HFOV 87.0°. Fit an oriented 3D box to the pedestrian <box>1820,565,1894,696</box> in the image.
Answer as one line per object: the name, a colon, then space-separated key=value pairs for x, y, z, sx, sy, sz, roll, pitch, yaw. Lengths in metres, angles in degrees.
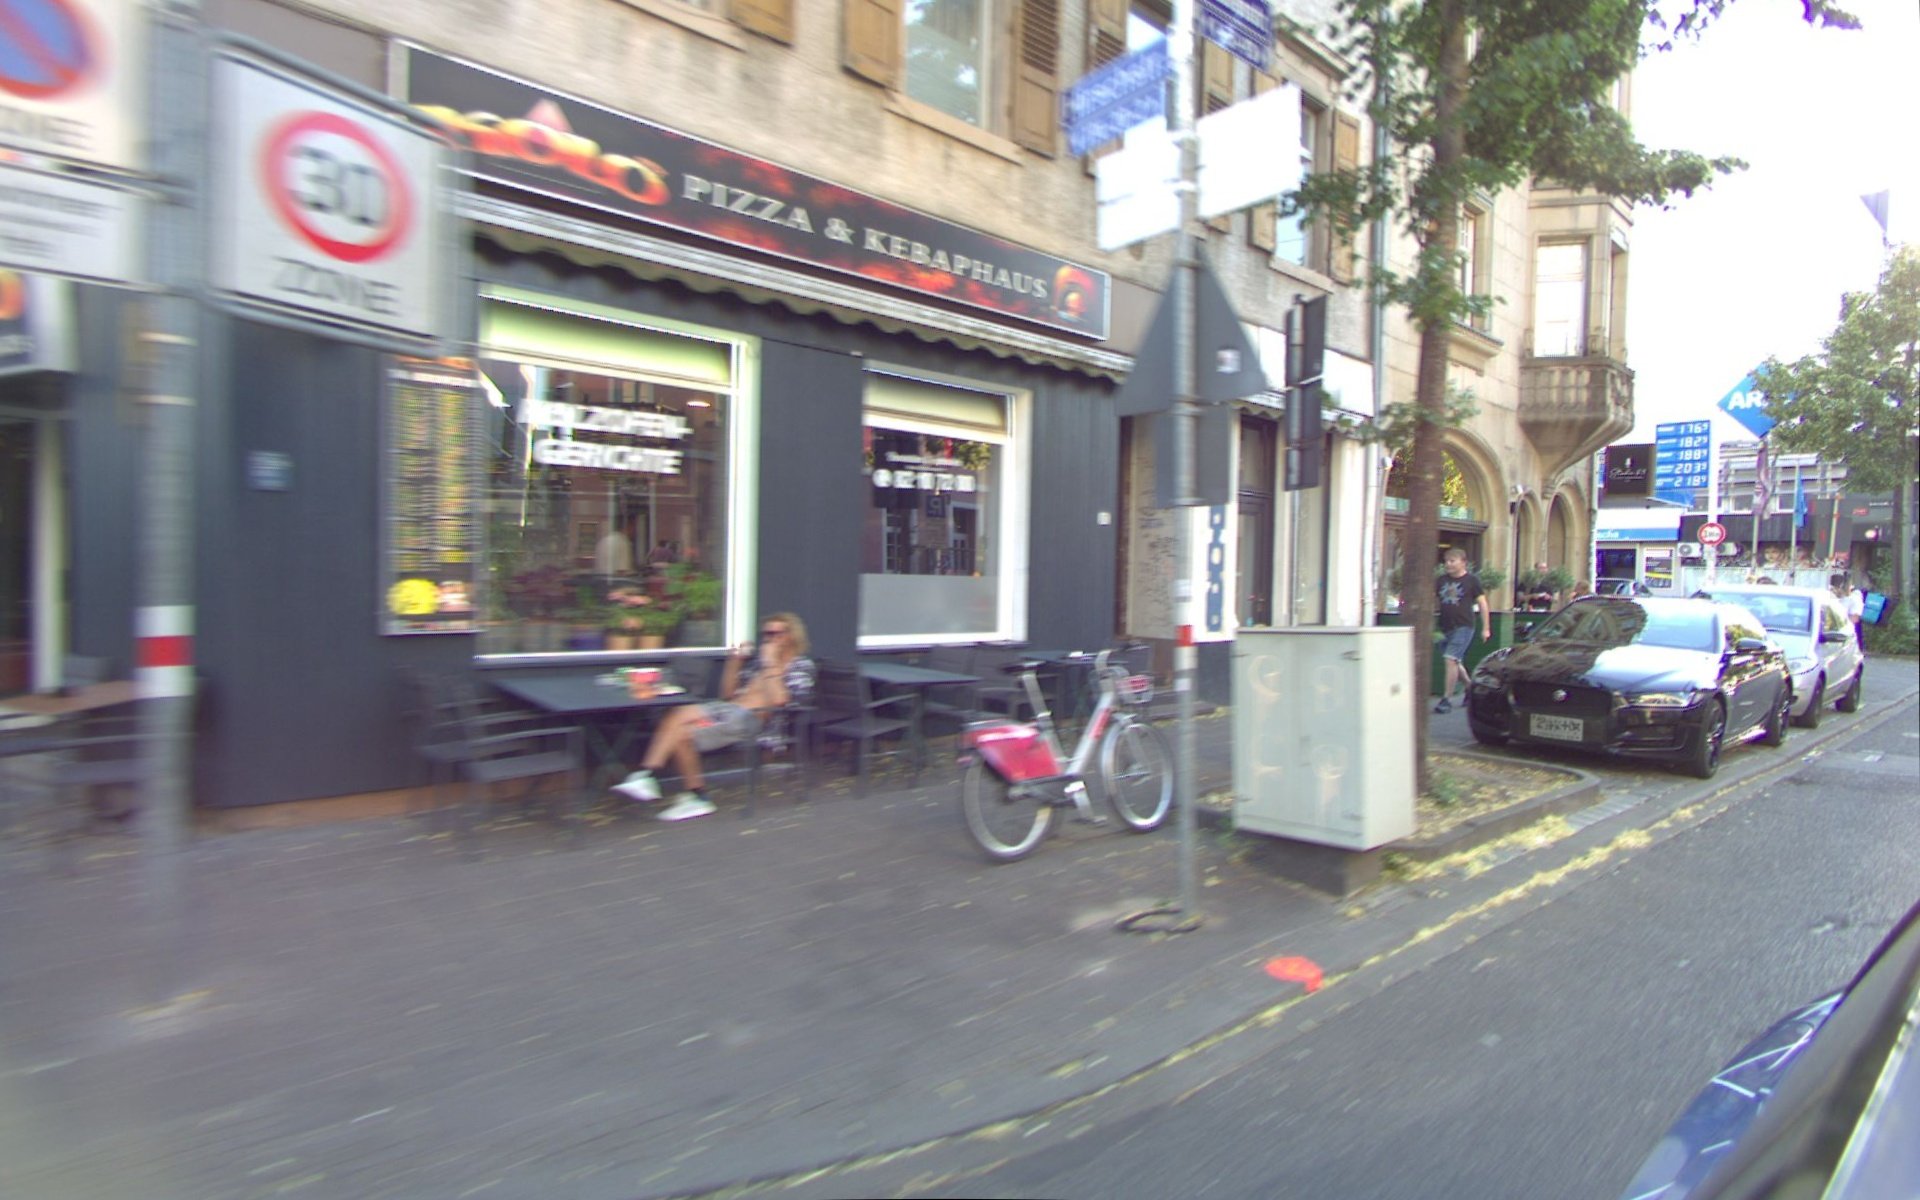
pedestrian: x=12.743 y=0.411 z=14.398 sx=0.676 sy=1.776 sz=0.813 roll=3 pitch=2 yaw=39

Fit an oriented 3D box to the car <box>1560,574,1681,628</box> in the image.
car: x=19.855 y=-0.019 z=30.339 sx=4.823 sy=1.448 sz=1.738 roll=-1 pitch=4 yaw=-41

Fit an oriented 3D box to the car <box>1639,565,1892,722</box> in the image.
car: x=10.206 y=0.457 z=12.734 sx=3.942 sy=1.594 sz=1.691 roll=1 pitch=4 yaw=-41

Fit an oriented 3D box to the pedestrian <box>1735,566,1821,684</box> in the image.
pedestrian: x=12.439 y=0.360 z=15.411 sx=0.642 sy=1.720 sz=0.667 roll=3 pitch=3 yaw=5

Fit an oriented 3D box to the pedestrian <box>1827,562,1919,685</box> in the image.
pedestrian: x=14.655 y=0.345 z=16.221 sx=1.013 sy=1.847 sz=0.769 roll=5 pitch=4 yaw=40

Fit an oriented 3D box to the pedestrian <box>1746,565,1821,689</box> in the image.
pedestrian: x=12.093 y=0.368 z=14.892 sx=0.675 sy=1.726 sz=0.815 roll=5 pitch=3 yaw=35

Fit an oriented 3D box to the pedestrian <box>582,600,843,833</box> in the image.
pedestrian: x=-1.449 y=0.616 z=5.998 sx=1.337 sy=1.155 sz=0.683 roll=-1 pitch=4 yaw=-41

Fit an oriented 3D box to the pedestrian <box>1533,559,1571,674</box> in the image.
pedestrian: x=9.991 y=0.273 z=17.077 sx=0.458 sy=1.898 sz=0.495 roll=3 pitch=1 yaw=34

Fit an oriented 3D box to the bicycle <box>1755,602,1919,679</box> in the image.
bicycle: x=14.561 y=0.660 z=16.845 sx=1.890 sy=1.112 sz=0.868 roll=3 pitch=2 yaw=-1

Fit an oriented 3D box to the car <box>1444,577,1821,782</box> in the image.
car: x=6.495 y=0.585 z=9.563 sx=4.444 sy=1.392 sz=1.789 roll=1 pitch=4 yaw=-41

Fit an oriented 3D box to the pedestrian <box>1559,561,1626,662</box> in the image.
pedestrian: x=10.380 y=0.185 z=16.608 sx=0.689 sy=1.581 sz=0.660 roll=1 pitch=4 yaw=-40

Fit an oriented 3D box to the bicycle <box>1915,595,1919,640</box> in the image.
bicycle: x=25.391 y=0.502 z=25.839 sx=1.646 sy=1.156 sz=0.485 roll=3 pitch=3 yaw=-10

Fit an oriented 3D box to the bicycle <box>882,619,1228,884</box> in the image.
bicycle: x=0.570 y=0.715 z=5.543 sx=1.866 sy=1.125 sz=0.780 roll=0 pitch=3 yaw=-41

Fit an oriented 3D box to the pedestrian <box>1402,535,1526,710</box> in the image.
pedestrian: x=5.805 y=0.230 z=11.645 sx=1.078 sy=1.876 sz=0.824 roll=1 pitch=4 yaw=-42
